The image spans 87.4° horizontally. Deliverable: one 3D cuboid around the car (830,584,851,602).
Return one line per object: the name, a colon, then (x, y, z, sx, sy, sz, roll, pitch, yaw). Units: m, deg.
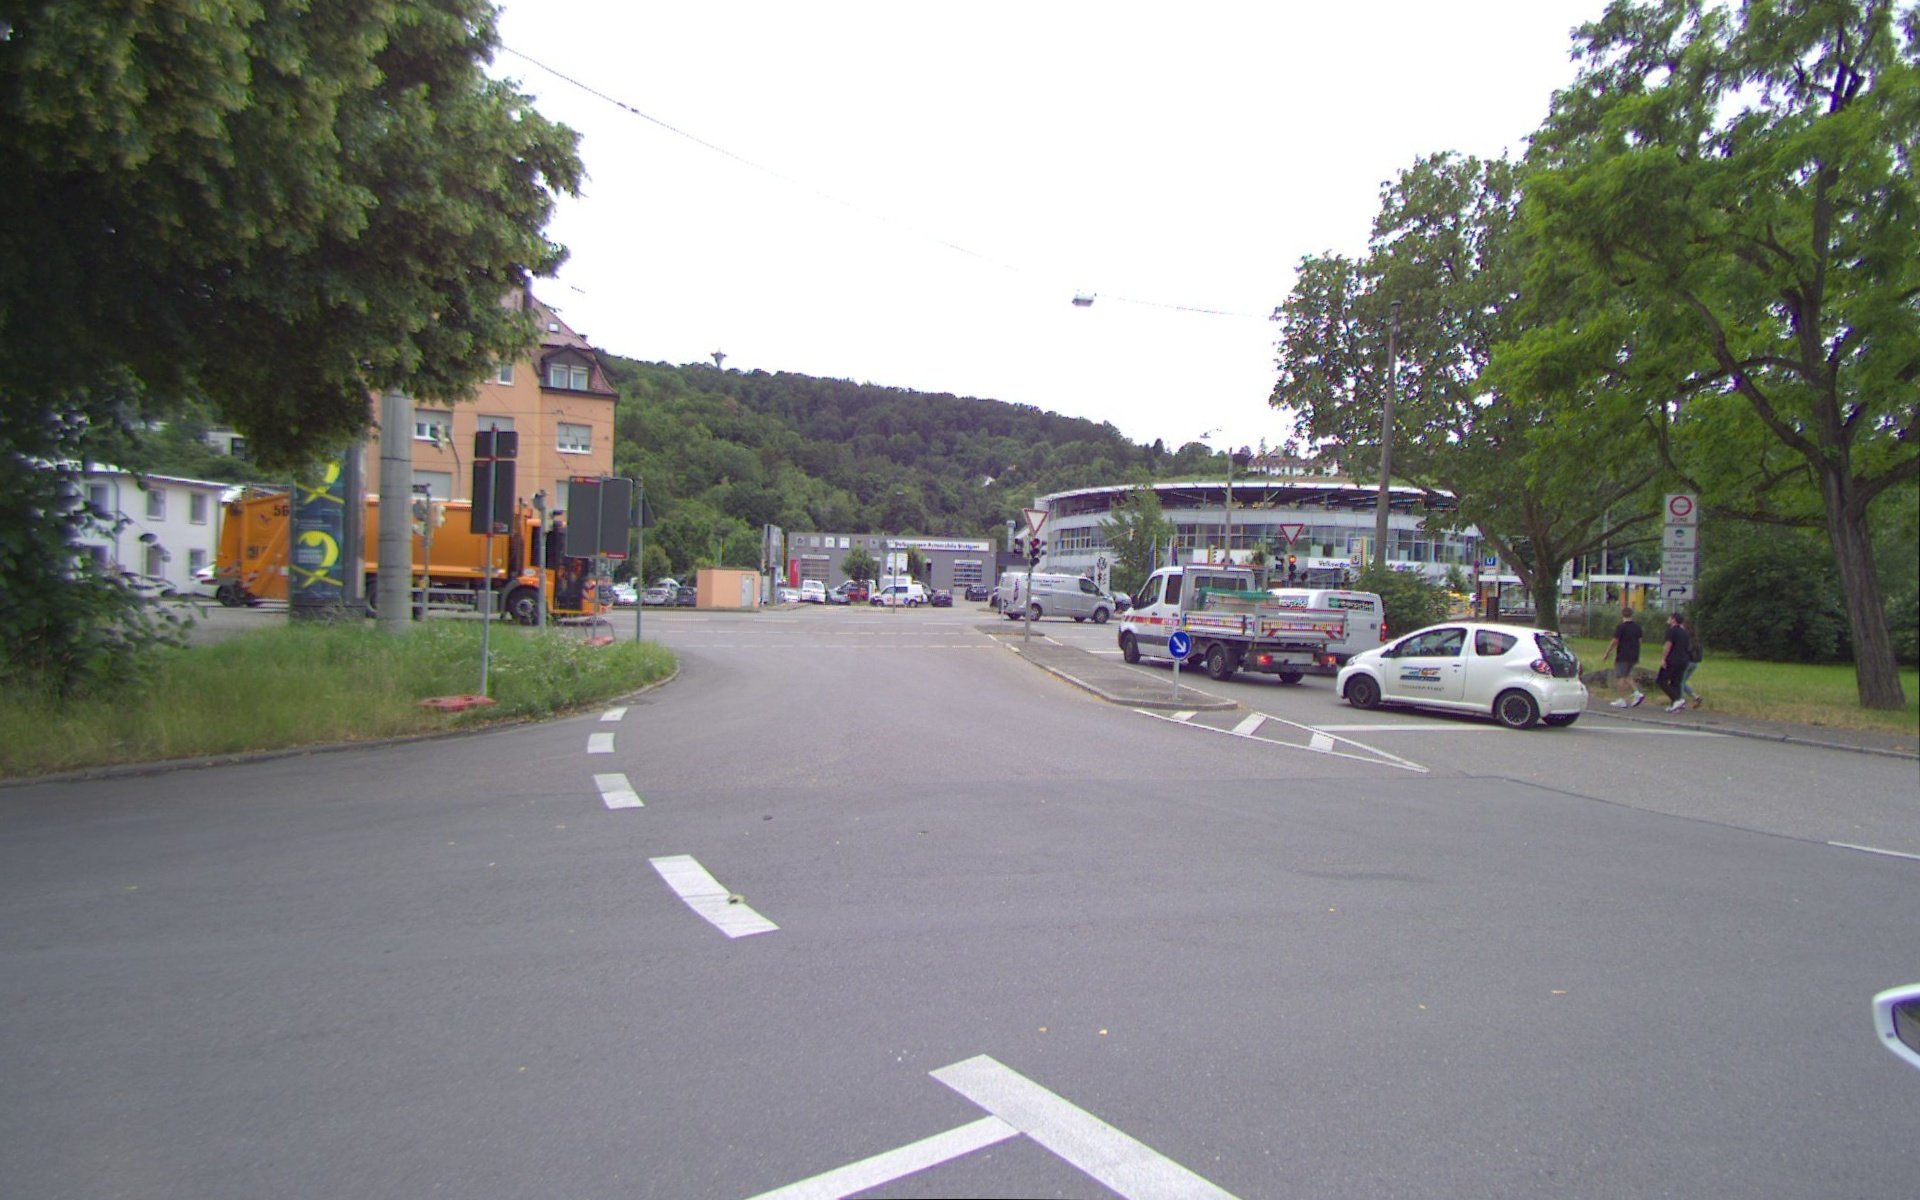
car: (-10.888, -0.670, 91.695, 1.742, 1.554, 4.087, 2, 1, -5)

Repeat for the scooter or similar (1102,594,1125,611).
scooter or similar: (11.665, 0.182, 76.226, 1.640, 1.193, 0.467, 2, 1, 2)

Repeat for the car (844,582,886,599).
car: (-9.542, -0.945, 101.009, 4.010, 1.554, 1.775, 2, 1, -1)

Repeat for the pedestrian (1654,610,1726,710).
pedestrian: (13.350, 1.076, 18.377, 0.686, 1.763, 0.784, 1, 1, -24)

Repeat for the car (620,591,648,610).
car: (-28.013, 0.032, 86.366, 1.752, 1.539, 3.623, 2, 1, -9)

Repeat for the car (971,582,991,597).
car: (2.186, -1.123, 105.047, 1.741, 1.554, 4.088, 2, 1, -3)

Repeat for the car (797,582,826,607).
car: (-11.824, -0.451, 79.966, 1.834, 1.842, 4.389, 1, 1, -14)

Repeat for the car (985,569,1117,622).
car: (3.854, -0.187, 42.614, 5.225, 2.041, 1.961, 1, 2, -23)

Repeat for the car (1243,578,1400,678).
car: (8.603, 0.588, 24.439, 1.957, 2.135, 4.760, 1, 1, -2)

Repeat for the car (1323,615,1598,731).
car: (7.558, 1.017, 15.409, 1.629, 1.452, 3.394, 1, 1, -37)

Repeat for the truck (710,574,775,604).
truck: (-18.766, -0.918, 86.773, 5.145, 2.425, 1.981, 1, 1, -34)

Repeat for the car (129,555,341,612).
car: (-21.618, -0.483, 30.177, 4.822, 1.528, 1.796, 1, 2, -20)

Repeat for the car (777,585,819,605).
car: (-13.922, -0.445, 86.144, 1.760, 1.554, 4.045, 1, 1, -38)

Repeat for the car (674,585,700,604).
car: (-23.438, -0.495, 86.269, 1.752, 1.539, 3.623, 2, 1, -9)

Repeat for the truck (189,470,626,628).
truck: (-15.024, -1.327, 28.174, 10.234, 3.574, 2.793, 3, 1, -9)

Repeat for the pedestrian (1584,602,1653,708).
pedestrian: (12.139, 0.996, 18.531, 0.686, 1.882, 0.784, 1, 1, -24)

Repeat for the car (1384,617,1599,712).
car: (9.852, 1.146, 18.905, 1.617, 1.476, 3.418, 2, 0, -16)

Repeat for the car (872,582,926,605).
car: (-5.335, -0.578, 88.085, 4.613, 1.929, 1.775, 2, 1, 0)

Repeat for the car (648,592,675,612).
car: (-25.720, 0.164, 86.680, 1.752, 1.539, 3.623, 2, 1, -9)

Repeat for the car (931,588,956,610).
car: (-1.514, -0.118, 91.465, 1.962, 1.840, 3.997, 2, 1, -4)

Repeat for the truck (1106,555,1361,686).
truck: (5.636, 0.340, 21.837, 2.392, 2.430, 6.003, 1, 1, -18)

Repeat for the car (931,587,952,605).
car: (-1.676, -0.383, 91.474, 1.741, 1.554, 4.088, 2, 1, -3)

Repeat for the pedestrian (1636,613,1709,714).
pedestrian: (12.753, 1.110, 17.995, 0.686, 1.737, 0.784, 1, 1, -24)
